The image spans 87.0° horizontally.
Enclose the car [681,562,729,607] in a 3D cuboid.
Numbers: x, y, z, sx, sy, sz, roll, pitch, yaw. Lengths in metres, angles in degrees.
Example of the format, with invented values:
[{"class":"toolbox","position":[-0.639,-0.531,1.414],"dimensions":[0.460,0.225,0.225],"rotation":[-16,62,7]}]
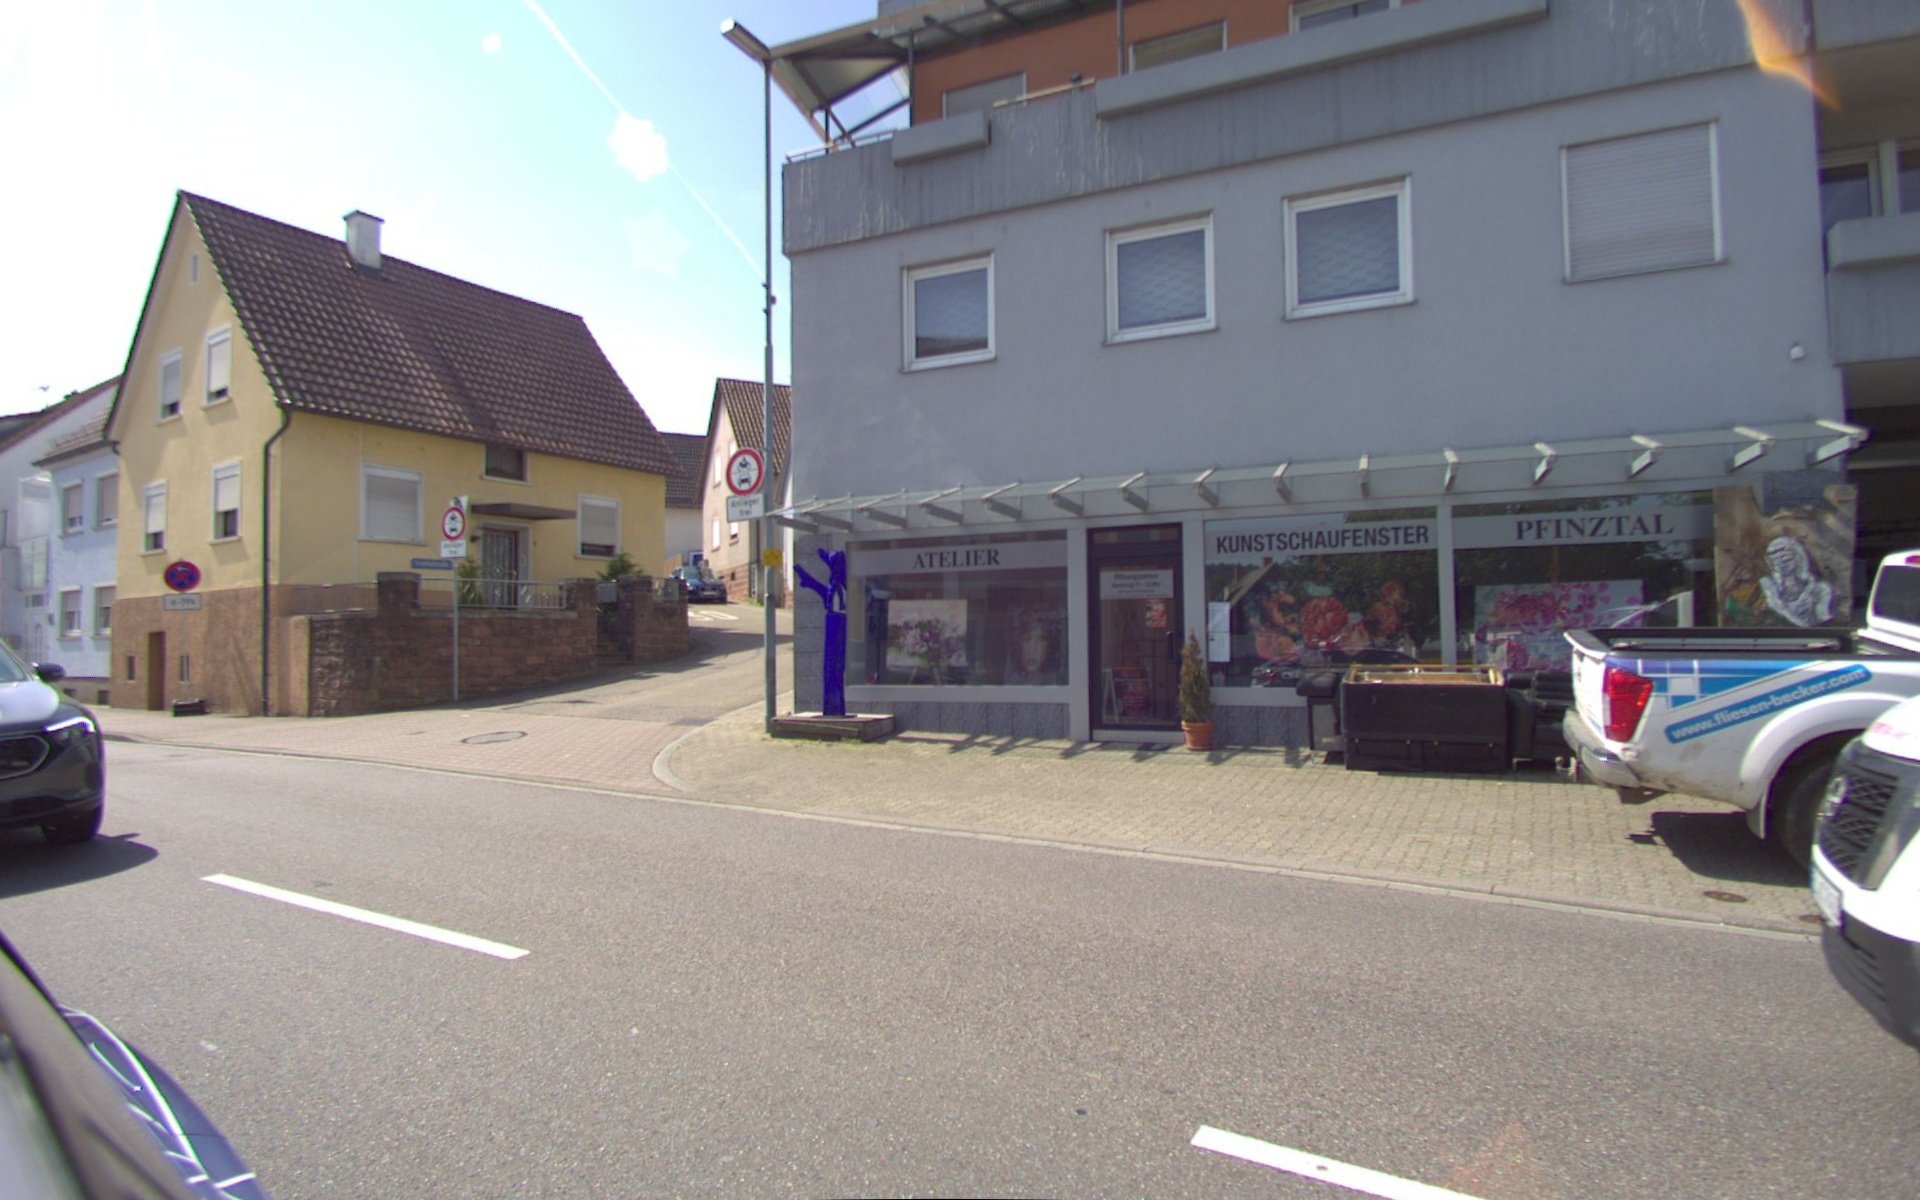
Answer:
[{"class":"car","position":[-10.145,-0.591,40.126],"dimensions":[1.546,1.681,3.780],"rotation":[-1,0,-18]}]

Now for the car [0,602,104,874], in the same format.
[{"class":"car","position":[-7.577,0.875,6.873],"dimensions":[4.281,1.585,1.718],"rotation":[-2,-1,36]}]

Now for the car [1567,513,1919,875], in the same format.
[{"class":"car","position":[6.371,0.416,5.296],"dimensions":[5.256,1.811,1.795],"rotation":[-2,1,25]}]

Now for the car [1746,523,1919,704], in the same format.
[{"class":"car","position":[11.797,0.125,13.085],"dimensions":[1.868,2.029,4.084],"rotation":[-1,0,28]}]

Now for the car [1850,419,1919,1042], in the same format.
[{"class":"car","position":[5.160,0.375,1.634],"dimensions":[5.299,1.948,1.952],"rotation":[-1,-3,34]}]
